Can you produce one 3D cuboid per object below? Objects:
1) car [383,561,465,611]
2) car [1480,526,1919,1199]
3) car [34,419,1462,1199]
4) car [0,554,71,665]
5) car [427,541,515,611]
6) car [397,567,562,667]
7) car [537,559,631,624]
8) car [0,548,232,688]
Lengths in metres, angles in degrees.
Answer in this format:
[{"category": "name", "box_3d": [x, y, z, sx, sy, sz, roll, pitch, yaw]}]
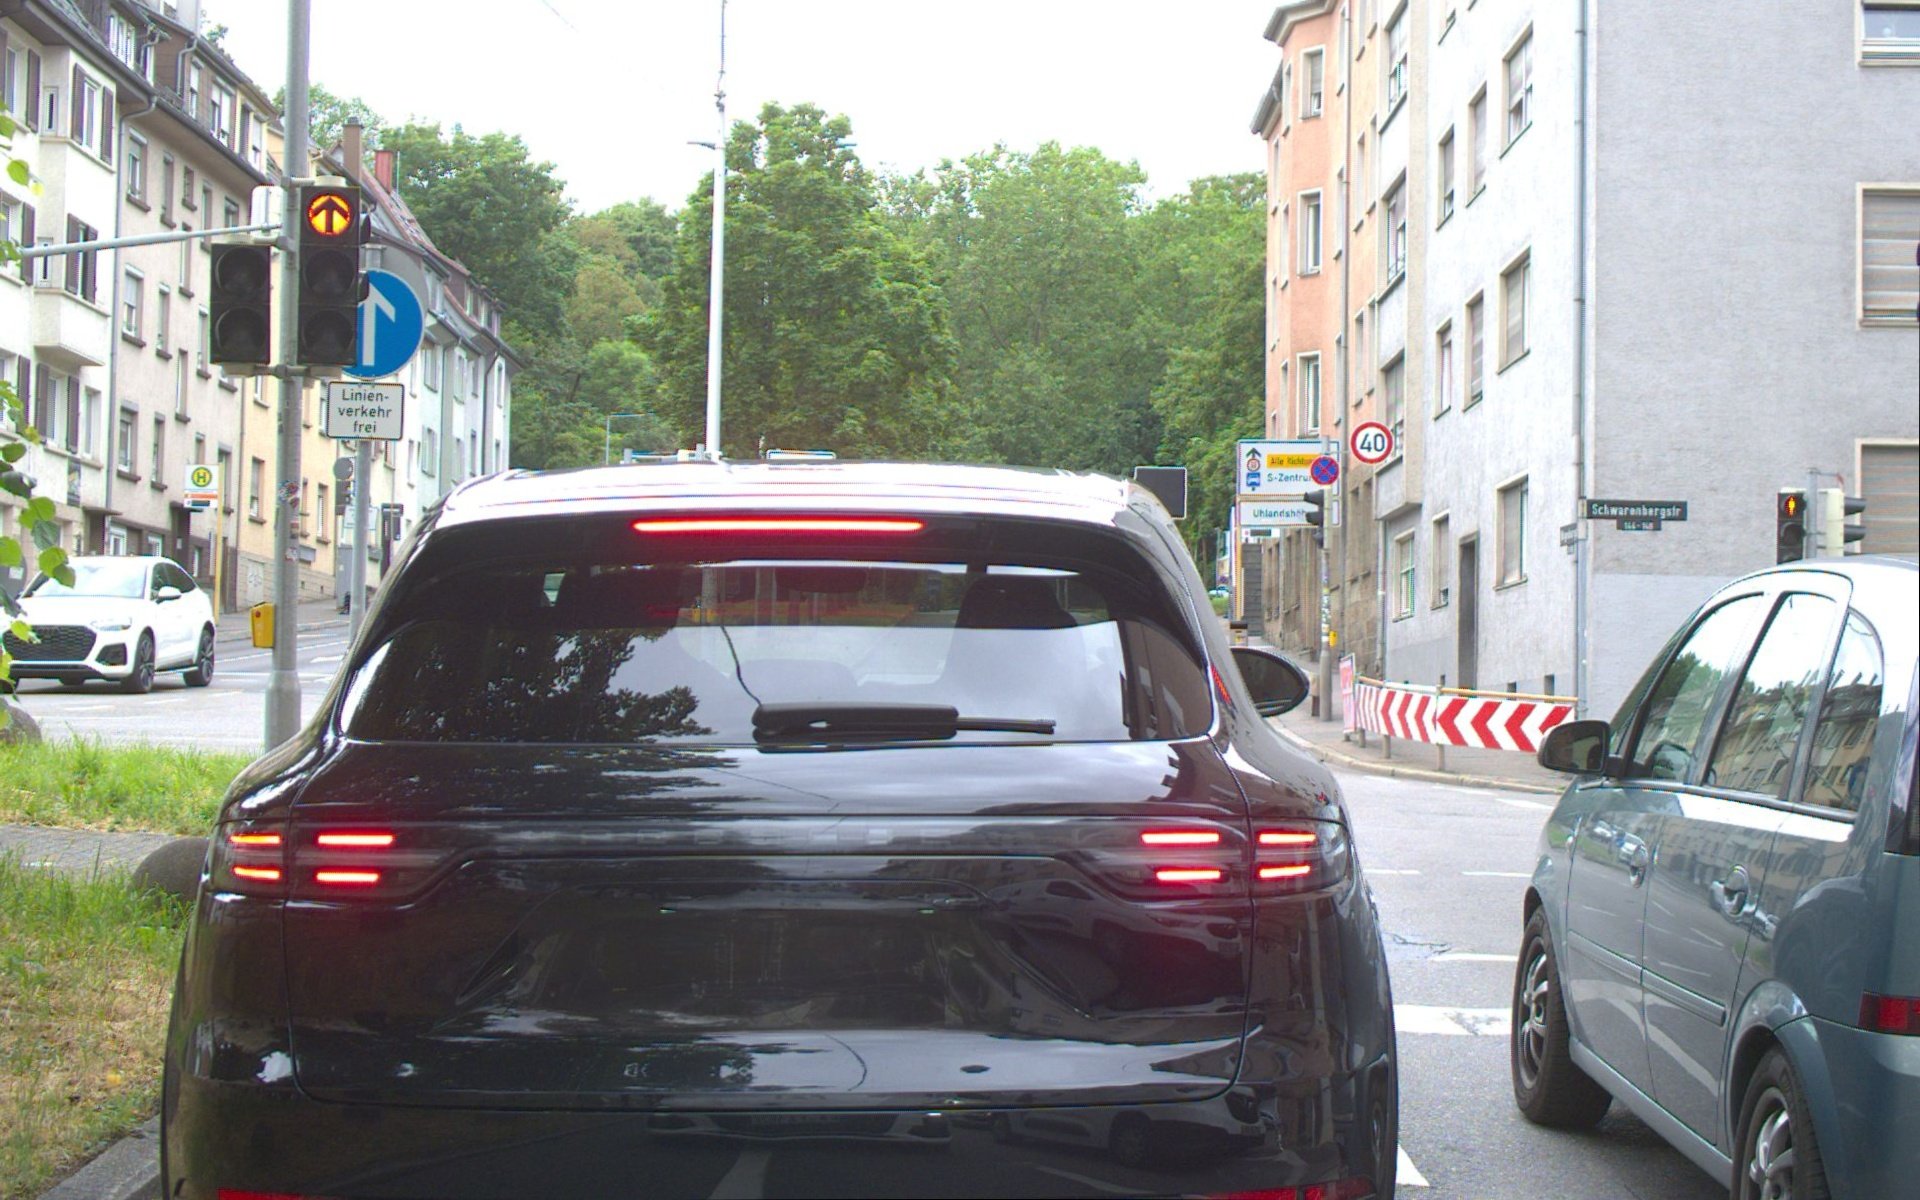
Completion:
[{"category": "car", "box_3d": [-15.393, -0.423, 98.846, 1.739, 1.382, 3.814, 1, 1, 0]}, {"category": "car", "box_3d": [2.351, 0.699, 7.871, 1.628, 1.592, 3.669, 4, 1, -1]}, {"category": "car", "box_3d": [-0.313, 0.568, 6.717, 1.955, 1.669, 4.000, 0, 1, -1]}, {"category": "car", "box_3d": [-13.641, 0.106, 46.640, 1.844, 1.481, 3.897, 1, 1, 5]}, {"category": "car", "box_3d": [-14.832, -0.742, 104.485, 2.016, 2.038, 4.667, 1, 1, 0]}, {"category": "car", "box_3d": [-7.020, 0.222, 50.576, 1.862, 1.383, 4.094, 1, 1, 0]}, {"category": "car", "box_3d": [-8.873, -0.185, 81.400, 1.619, 1.475, 3.823, 1, -1, 3]}, {"category": "car", "box_3d": [-10.554, 0.185, 42.326, 1.974, 1.605, 4.558, 1, 1, 3]}]
